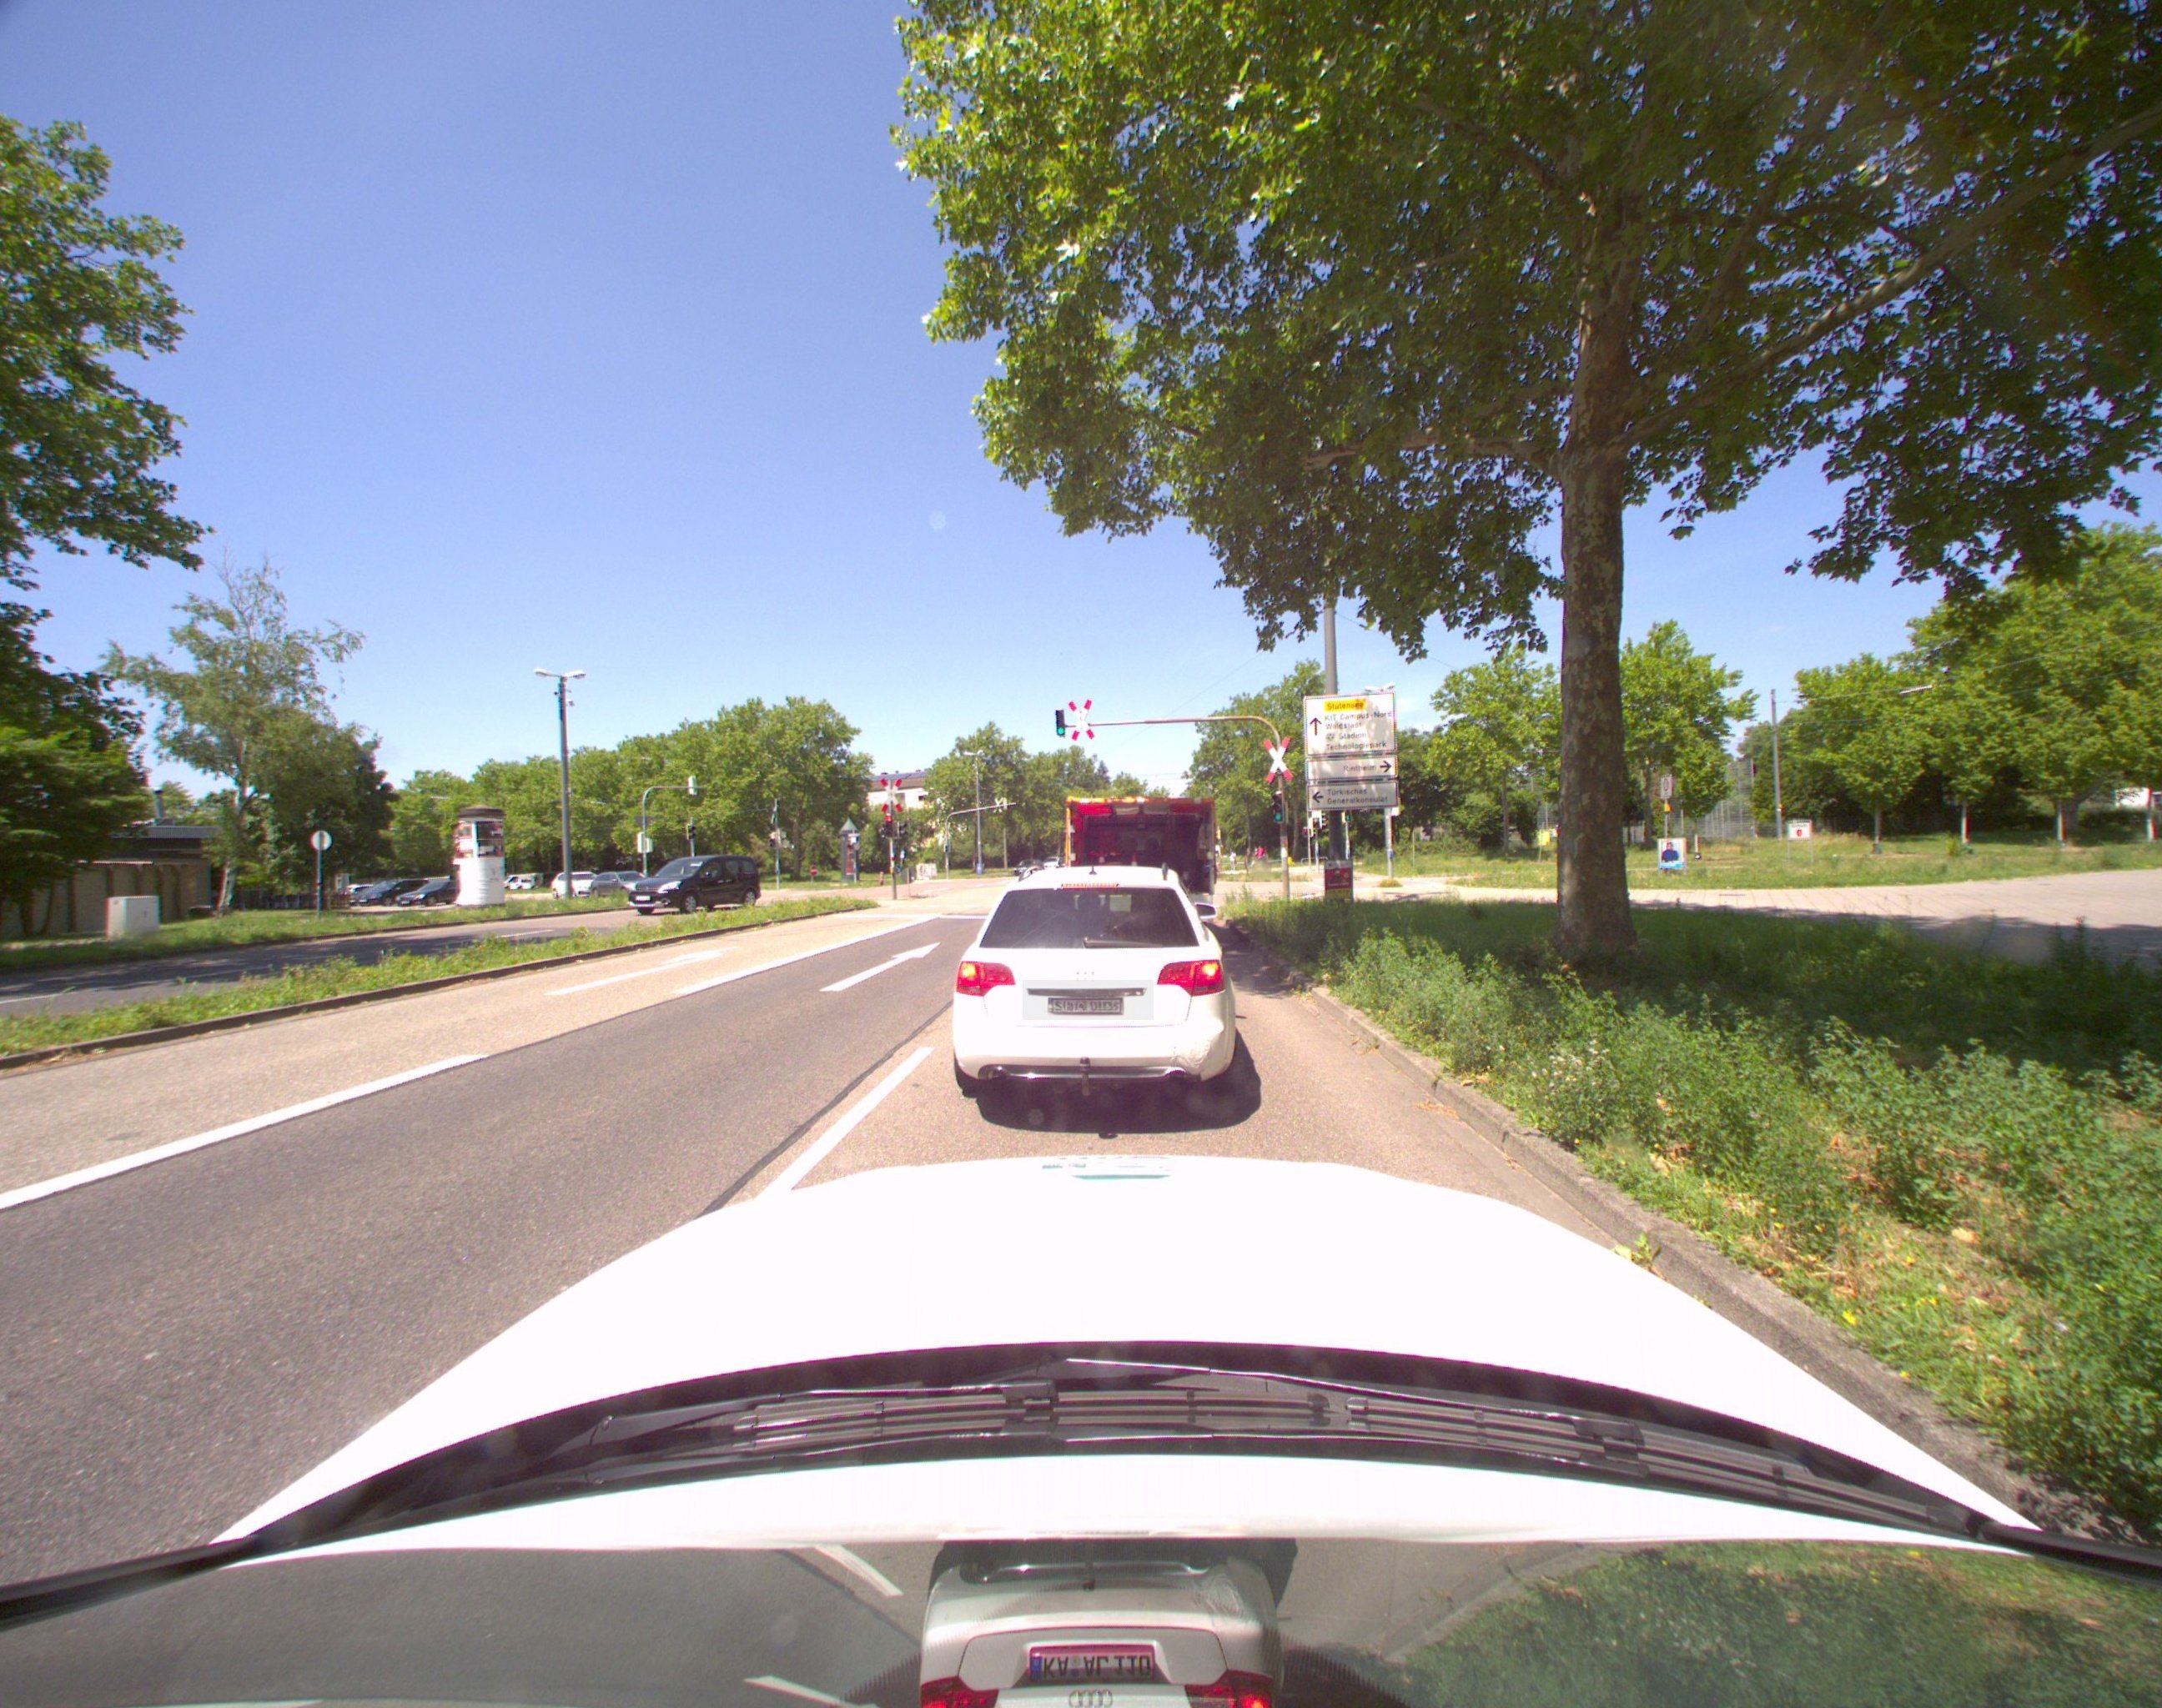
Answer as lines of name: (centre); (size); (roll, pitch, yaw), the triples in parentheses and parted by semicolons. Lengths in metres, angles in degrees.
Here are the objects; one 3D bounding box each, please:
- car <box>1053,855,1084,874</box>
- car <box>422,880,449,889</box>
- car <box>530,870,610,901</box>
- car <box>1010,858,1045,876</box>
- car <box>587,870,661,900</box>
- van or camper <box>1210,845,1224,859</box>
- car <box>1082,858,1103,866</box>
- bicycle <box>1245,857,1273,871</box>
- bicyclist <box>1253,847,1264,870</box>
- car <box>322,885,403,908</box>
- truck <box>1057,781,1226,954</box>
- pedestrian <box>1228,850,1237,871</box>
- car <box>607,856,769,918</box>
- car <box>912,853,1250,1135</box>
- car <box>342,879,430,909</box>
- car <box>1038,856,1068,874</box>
car: (-1.126, 0.925, 74.328); (1.897, 1.539, 4.312); (-2, 0, 11)
car: (-88.134, 4.177, 111.243); (0.996, 0.994, 2.738); (-2, 0, 31)
car: (-29.407, 1.816, 46.860); (4.403, 1.604, 2.231); (-2, 0, 34)
car: (-4.842, 1.174, 73.857); (1.936, 1.440, 4.762); (-1, 0, 11)
car: (-24.126, 1.632, 42.940); (3.941, 1.457, 1.776); (-2, 0, 34)
van or camper: (33.330, -0.592, 199.015); (2.640, 3.331, 5.524); (-2, 0, 16)
car: (1.968, 1.369, 139.298); (1.864, 1.393, 4.025); (-2, 0, 28)
bicycle: (12.151, 0.686, 55.681); (1.794, 0.896, 0.590); (-2, -1, 9)
bicyclist: (12.153, 0.330, 55.684); (0.667, 1.556, 0.581); (-2, -1, 9)
car: (-51.828, 3.028, 58.856); (1.930, 1.423, 4.070); (-2, 0, 8)
truck: (1.233, 0.233, 15.964); (2.499, 2.559, 7.613); (0, 0, 5)
pedestrian: (10.821, 0.456, 58.188); (0.548, 1.484, 0.632); (-2, 0, 18)
car: (-12.191, 0.969, 25.638); (1.895, 1.679, 4.466); (-2, 0, 20)
car: (0.175, 0.732, 6.072); (1.754, 1.445, 3.622); (-1, 0, 6)
car: (-44.806, 2.557, 52.644); (1.769, 1.651, 4.201); (-2, 0, 6)
car: (-2.780, 1.079, 81.033); (1.774, 1.615, 4.421); (-2, 0, 14)
